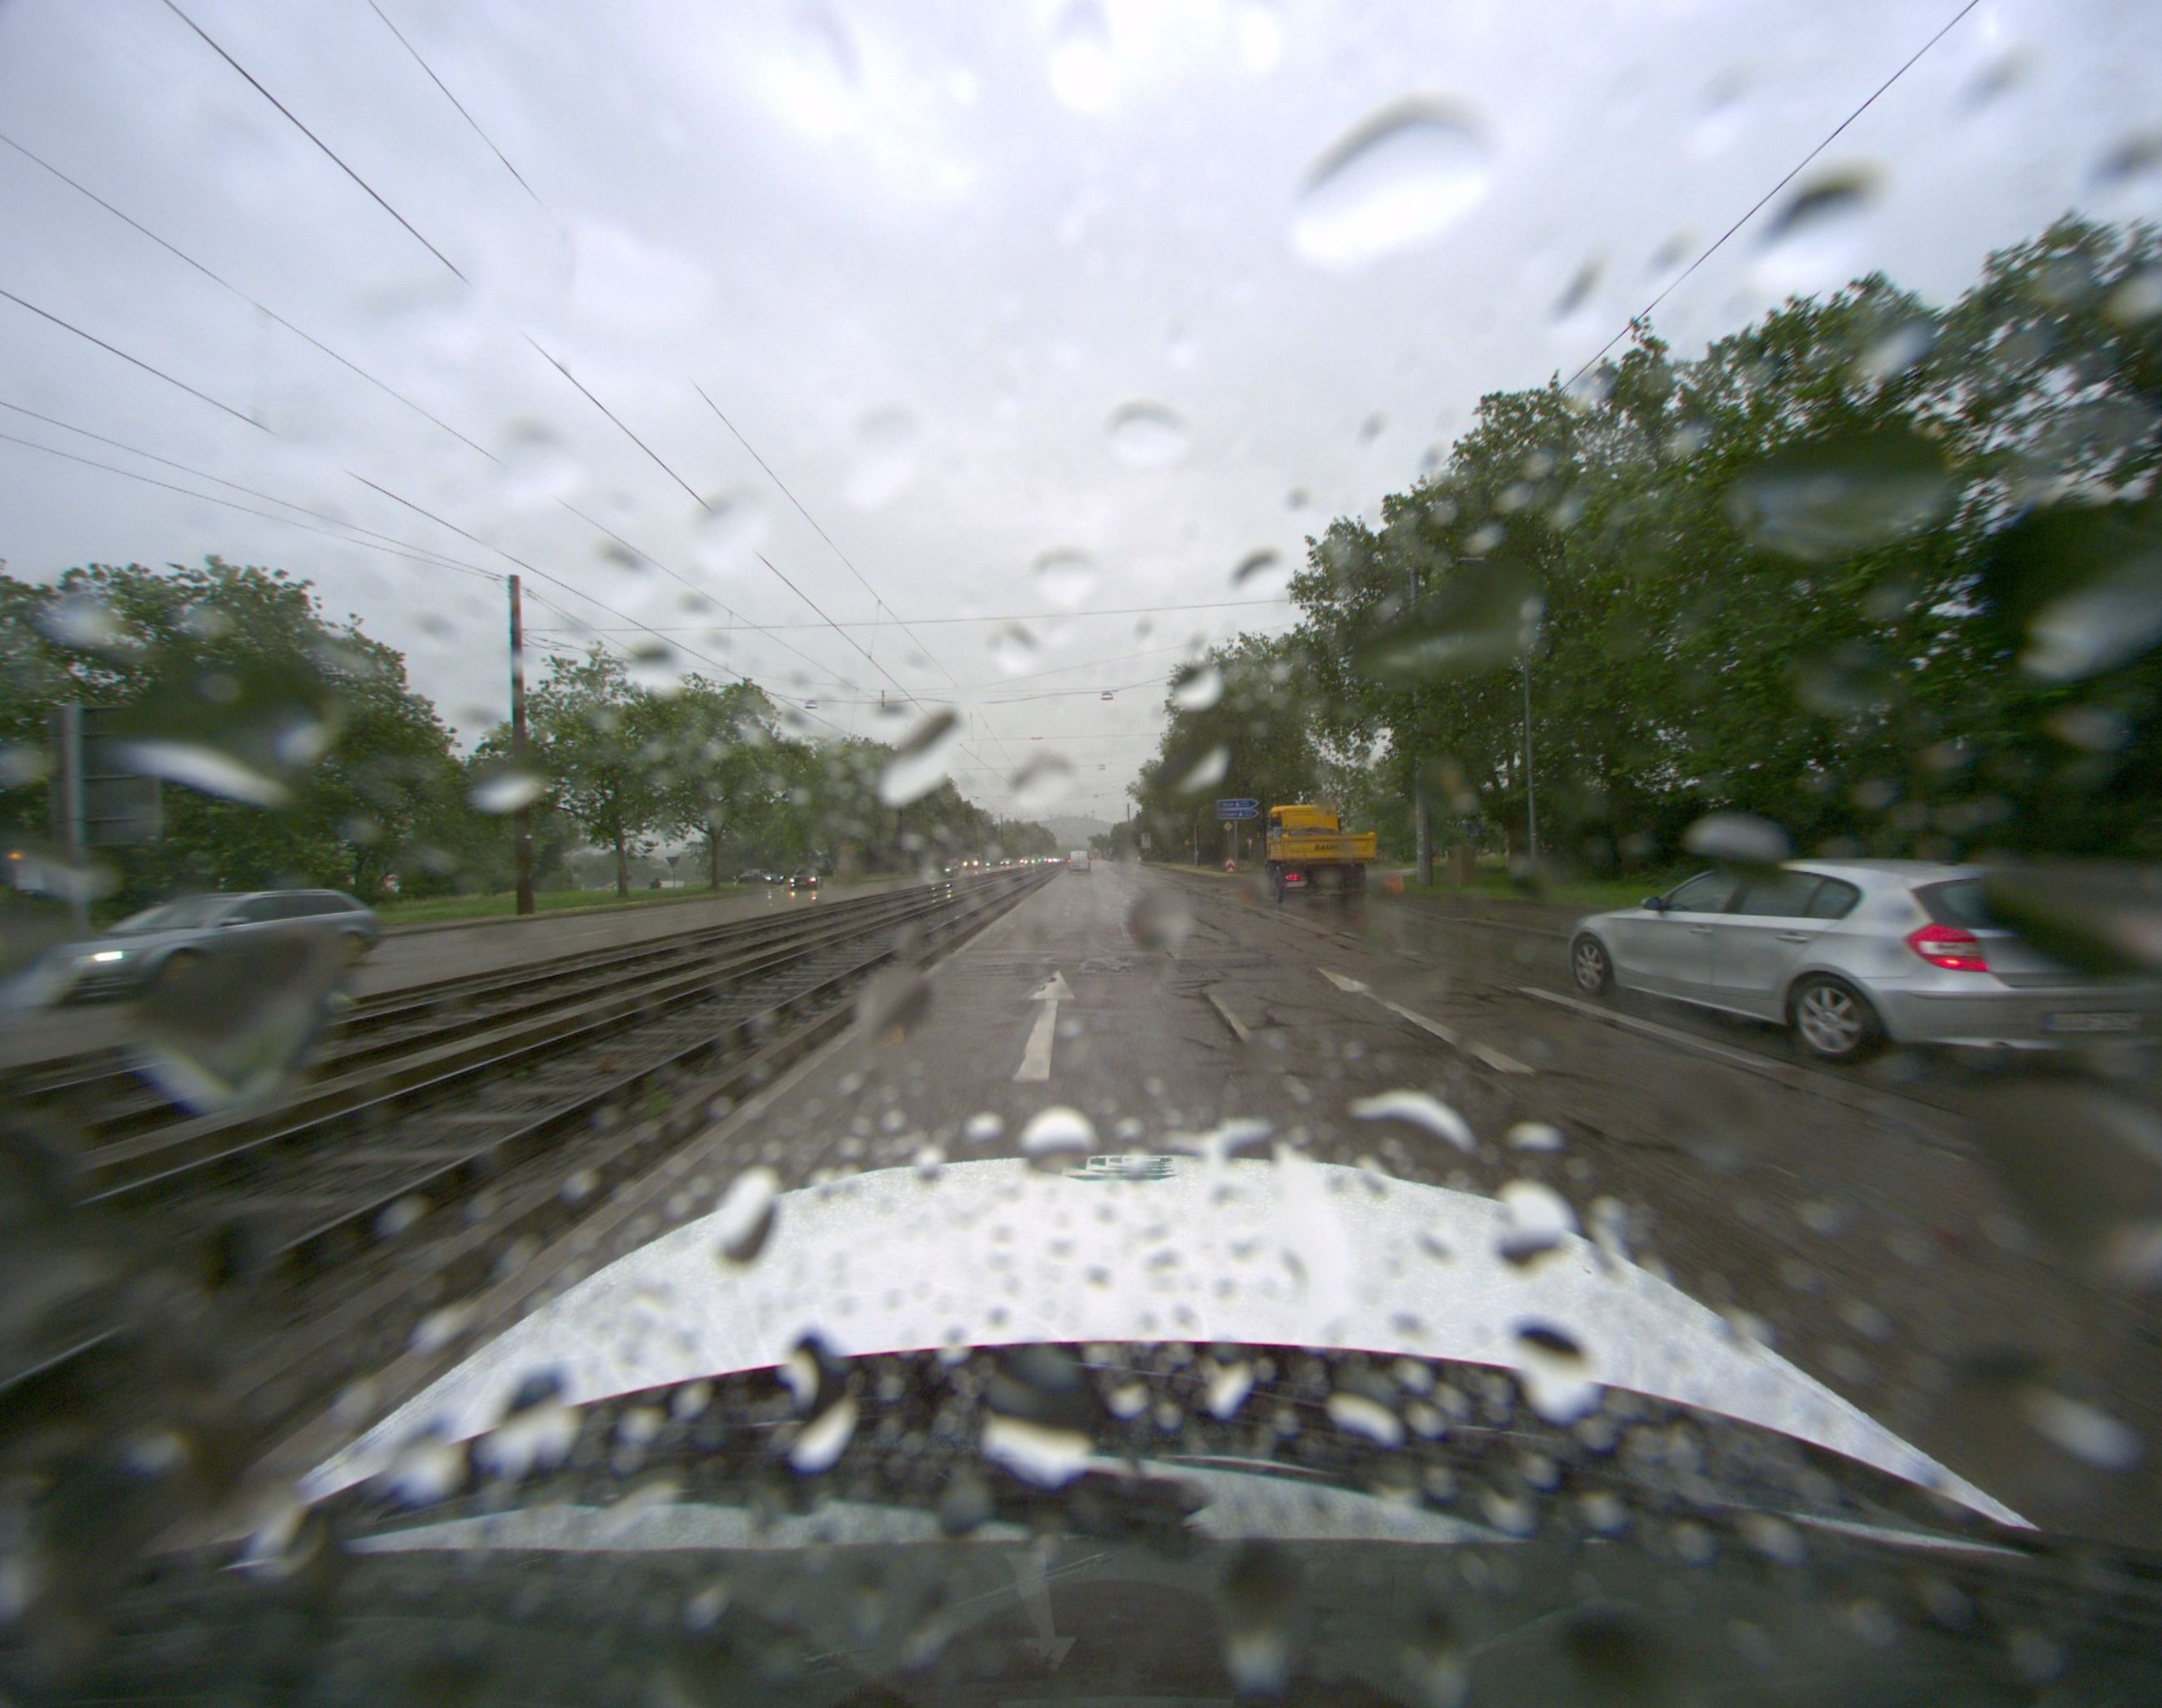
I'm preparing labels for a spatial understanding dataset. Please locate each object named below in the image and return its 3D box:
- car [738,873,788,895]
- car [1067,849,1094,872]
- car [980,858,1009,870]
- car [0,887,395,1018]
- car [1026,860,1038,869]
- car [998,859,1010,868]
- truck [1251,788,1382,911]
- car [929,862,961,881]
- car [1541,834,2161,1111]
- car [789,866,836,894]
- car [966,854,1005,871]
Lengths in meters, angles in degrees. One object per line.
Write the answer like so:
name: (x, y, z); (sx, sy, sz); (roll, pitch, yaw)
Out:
car: (-27.130, 2.521, 69.396); (4.590, 1.686, 1.859); (0, 1, 38)
car: (0.007, 0.495, 63.707); (1.982, 1.684, 3.741); (-1, 1, 2)
car: (-14.453, 1.625, 136.791); (2.063, 1.798, 4.794); (0, 1, 39)
car: (-13.797, 1.344, 12.752); (1.752, 1.362, 5.071); (-1, 1, 0)
car: (-9.403, 1.947, 157.874); (1.783, 1.549, 5.316); (-1, 1, 2)
car: (-15.565, 1.933, 164.452); (1.813, 1.705, 5.021); (-1, 1, 0)
truck: (7.007, -0.164, 25.189); (2.544, 3.257, 6.942); (0, 1, 5)
car: (-10.911, 1.382, 65.706); (1.735, 1.354, 4.546); (-1, 1, 1)
car: (5.962, 0.608, 6.768); (1.622, 1.503, 4.604); (-1, 1, -1)
car: (-17.027, 1.620, 51.809); (1.683, 1.552, 3.999); (-1, 1, 0)
car: (-14.169, 1.221, 121.078); (2.309, 2.425, 5.886); (0, 1, 38)
